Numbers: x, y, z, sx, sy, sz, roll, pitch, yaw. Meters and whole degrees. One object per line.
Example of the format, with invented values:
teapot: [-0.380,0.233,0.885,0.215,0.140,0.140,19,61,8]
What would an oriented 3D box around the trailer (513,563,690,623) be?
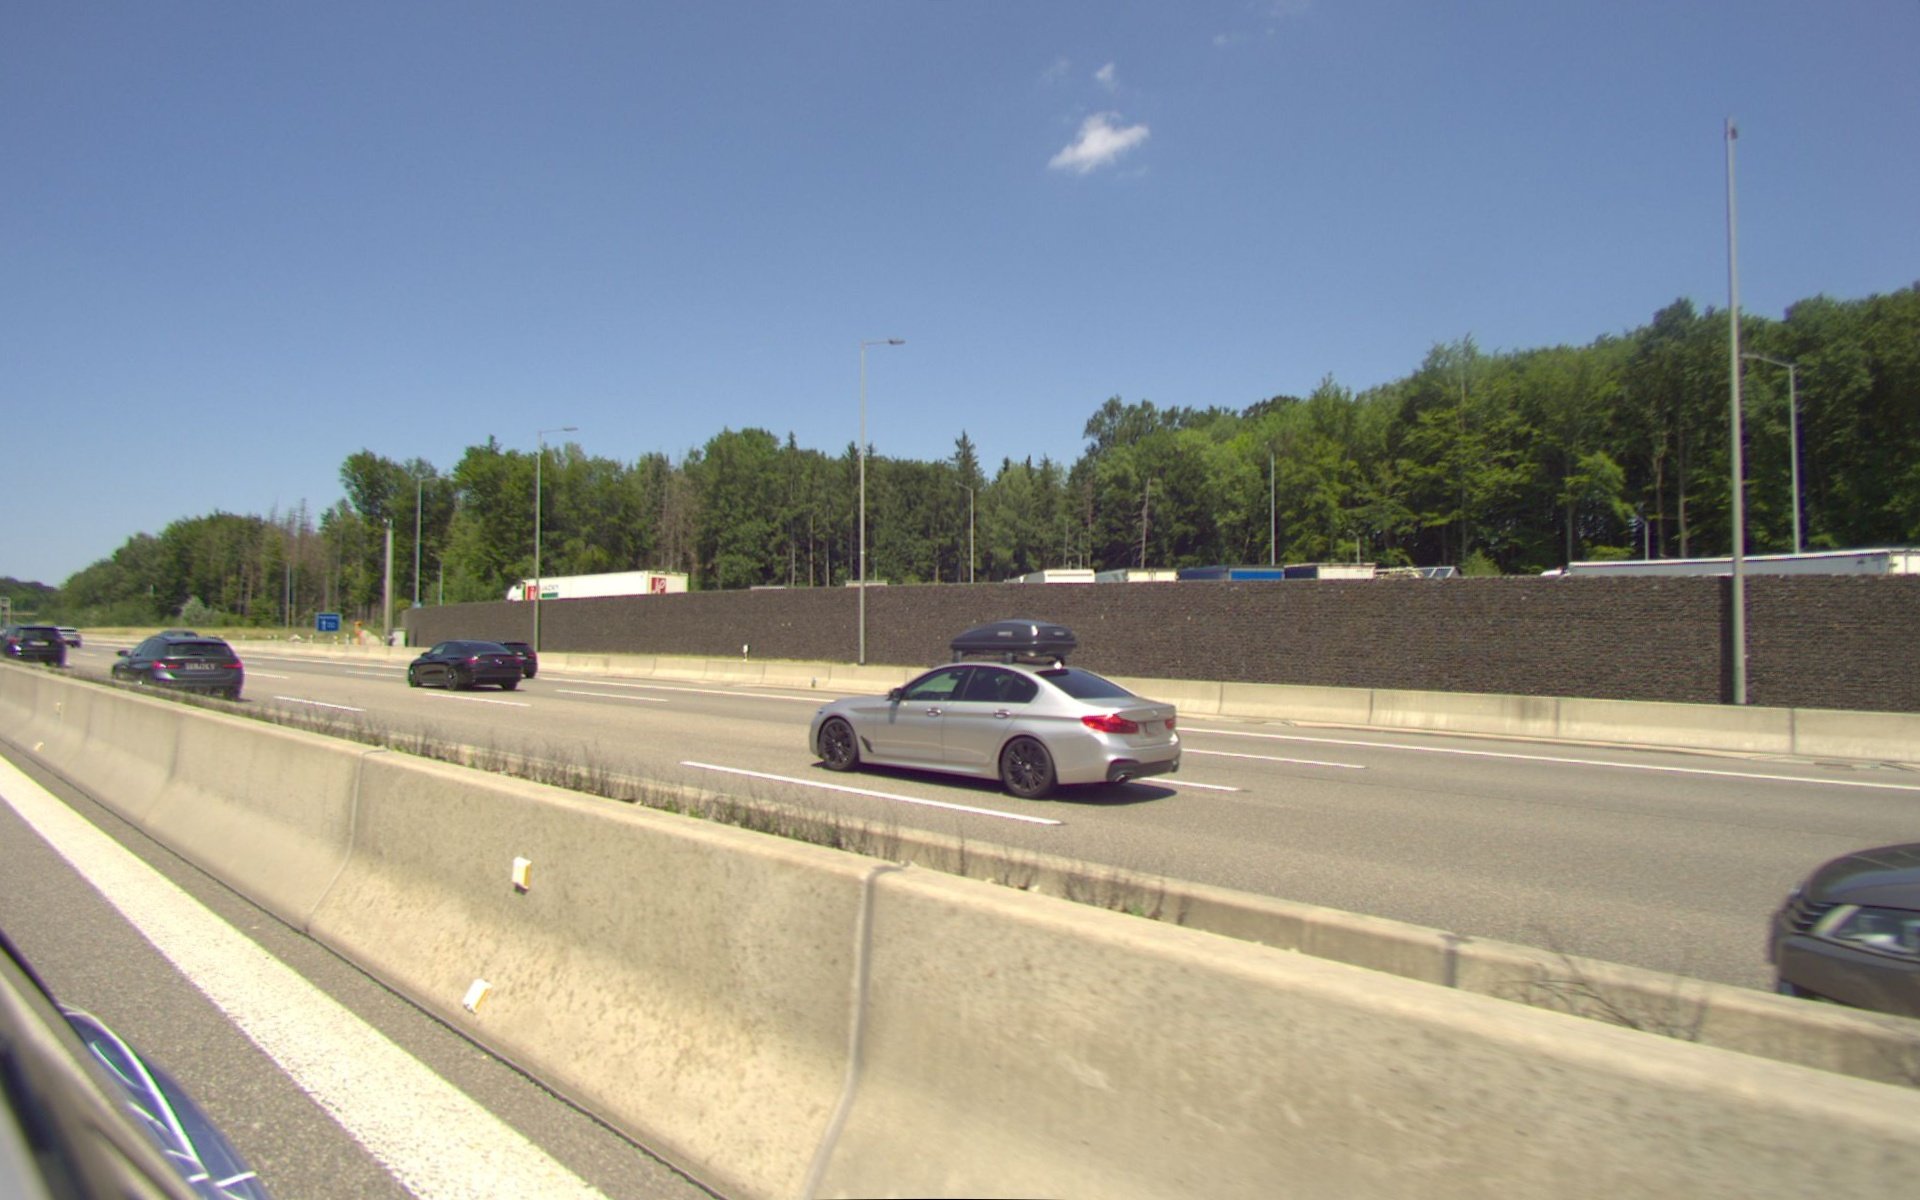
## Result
trailer: [-21.195,-0.229,58.928,14.602,3.148,2.941,-1,-3,41]

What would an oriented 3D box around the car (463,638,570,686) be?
car: [-16.593,2.272,37.799,4.210,1.633,1.973,-1,-3,40]

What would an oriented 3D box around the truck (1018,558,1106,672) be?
truck: [5.281,0.885,54.304,3.179,5.656,8.496,0,-2,-5]

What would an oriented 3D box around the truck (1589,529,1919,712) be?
truck: [30.840,0.861,37.746,3.175,5.656,16.725,0,-2,-4]

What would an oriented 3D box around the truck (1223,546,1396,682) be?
truck: [16.053,0.785,47.938,3.317,5.656,11.549,0,-2,-5]

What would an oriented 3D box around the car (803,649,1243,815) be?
car: [0.571,1.390,12.002,5.014,1.498,1.973,-1,-4,40]

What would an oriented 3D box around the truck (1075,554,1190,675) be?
truck: [8.759,0.885,53.207,3.179,5.656,11.549,0,-2,-5]

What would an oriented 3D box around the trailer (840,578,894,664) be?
trailer: [-6.090,1.511,67.477,3.175,5.111,14.580,0,-2,-4]

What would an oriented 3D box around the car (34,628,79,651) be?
car: [-72.925,3.188,81.648,5.921,1.787,1.972,-1,-3,41]

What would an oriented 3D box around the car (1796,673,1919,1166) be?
car: [5.427,1.029,2.505,5.131,1.498,1.973,-1,-3,40]

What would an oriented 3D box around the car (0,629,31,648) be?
car: [-94.330,3.845,100.868,5.036,1.787,1.972,-1,-3,41]

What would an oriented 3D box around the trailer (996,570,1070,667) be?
trailer: [4.457,1.267,64.399,3.179,5.656,9.949,0,-2,-5]

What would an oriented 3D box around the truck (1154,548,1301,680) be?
truck: [12.615,0.786,49.249,3.179,5.656,11.549,0,-2,-5]

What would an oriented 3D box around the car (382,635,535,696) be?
car: [-15.042,1.882,30.192,5.751,1.633,1.973,-1,-3,41]

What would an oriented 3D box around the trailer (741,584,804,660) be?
trailer: [-13.792,1.725,75.756,3.082,5.111,14.580,0,-2,-4]

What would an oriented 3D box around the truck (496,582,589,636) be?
truck: [-26.011,0.624,62.951,6.199,3.148,2.896,-1,-3,41]

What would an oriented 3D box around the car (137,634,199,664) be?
car: [-43.341,2.660,55.377,4.052,1.567,1.705,-1,-3,38]

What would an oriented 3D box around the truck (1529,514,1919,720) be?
truck: [27.386,0.751,36.260,3.399,5.656,16.725,0,-2,-4]

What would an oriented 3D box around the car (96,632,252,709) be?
car: [-18.088,1.544,23.227,4.587,1.559,1.852,-1,-3,40]

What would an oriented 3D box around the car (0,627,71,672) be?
car: [-37.719,1.955,40.694,5.748,1.675,1.974,-1,-3,39]
